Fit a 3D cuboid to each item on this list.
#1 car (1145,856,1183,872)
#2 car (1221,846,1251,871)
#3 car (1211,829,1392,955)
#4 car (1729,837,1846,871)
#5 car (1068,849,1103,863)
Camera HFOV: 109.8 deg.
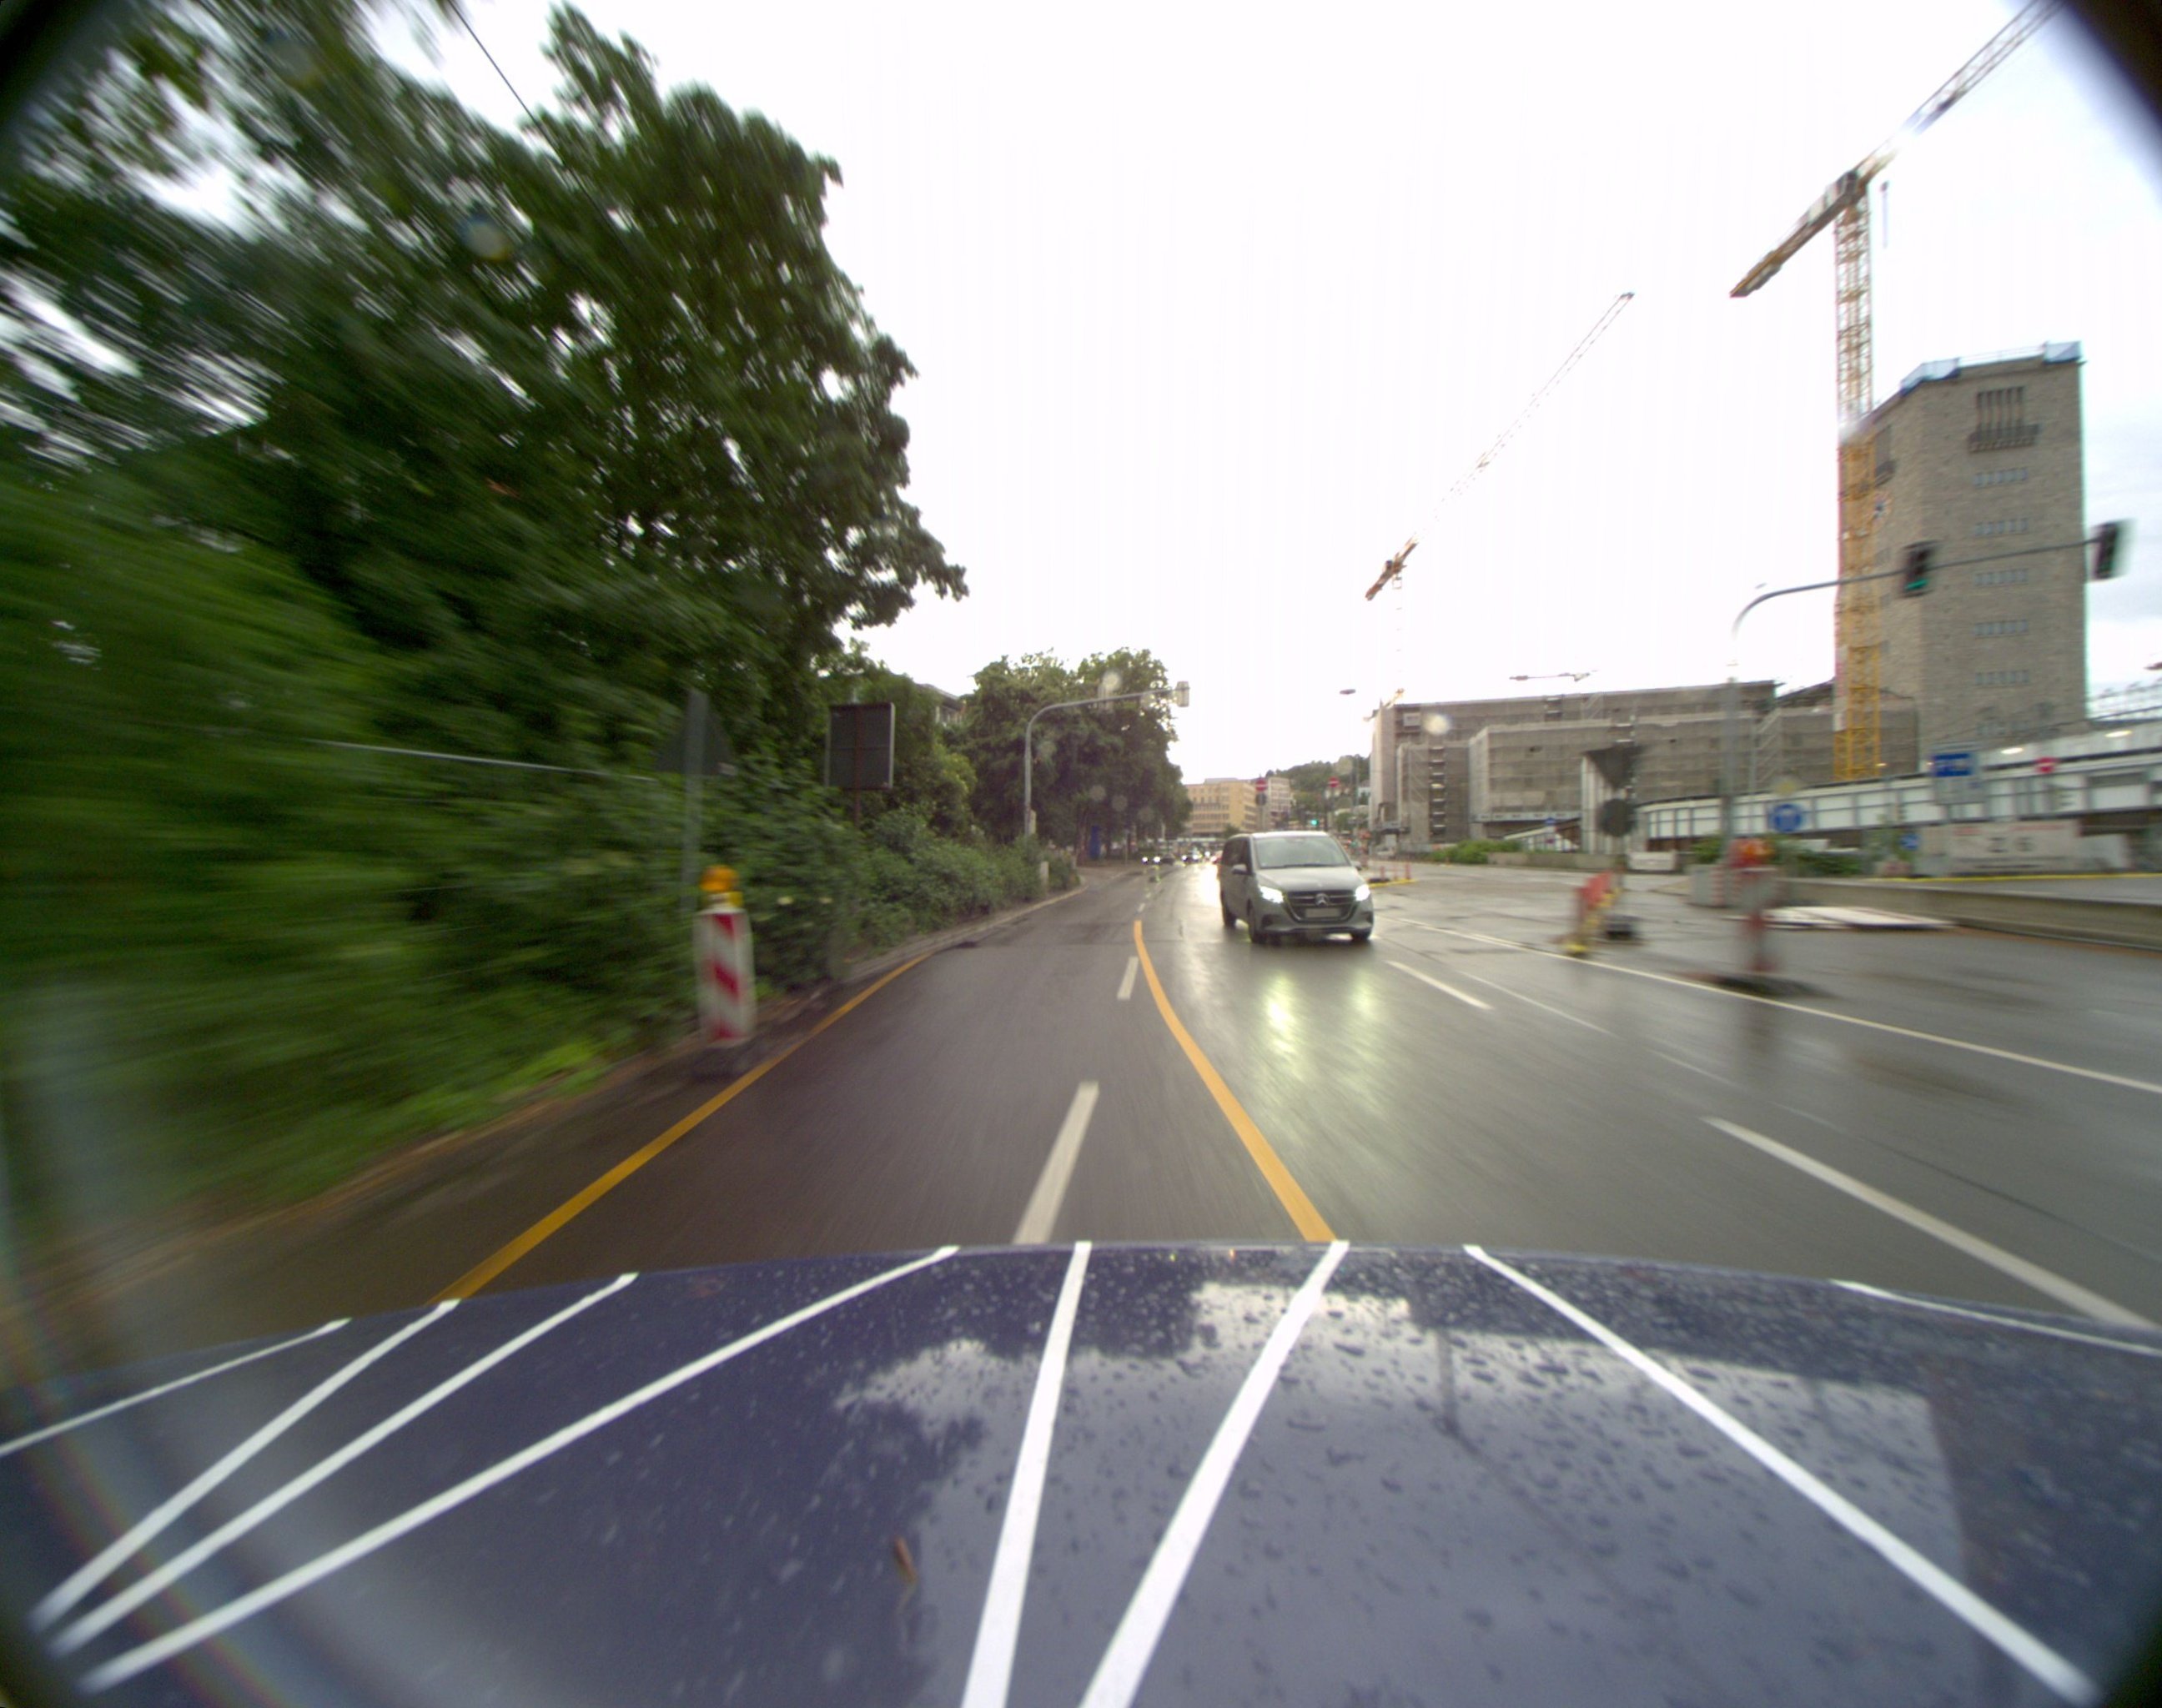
[{"bbox_3d":[9.419,1.082,86.135,4.007,1.753,1.995,0,1,-33],"label":"car"},{"bbox_3d":[11.047,0.263,54.127,1.810,1.456,4.923,8,2,11],"label":"car"},{"bbox_3d":[3.807,0.595,14.226,1.998,1.845,5.358,-2,0,3],"label":"car"},{"bbox_3d":[44.269,-0.012,47.746,2.003,2.002,5.015,0,0,-27],"label":"car"},{"bbox_3d":[0.462,0.211,83.490,1.704,1.447,3.989,0,1,-37],"label":"car"}]
